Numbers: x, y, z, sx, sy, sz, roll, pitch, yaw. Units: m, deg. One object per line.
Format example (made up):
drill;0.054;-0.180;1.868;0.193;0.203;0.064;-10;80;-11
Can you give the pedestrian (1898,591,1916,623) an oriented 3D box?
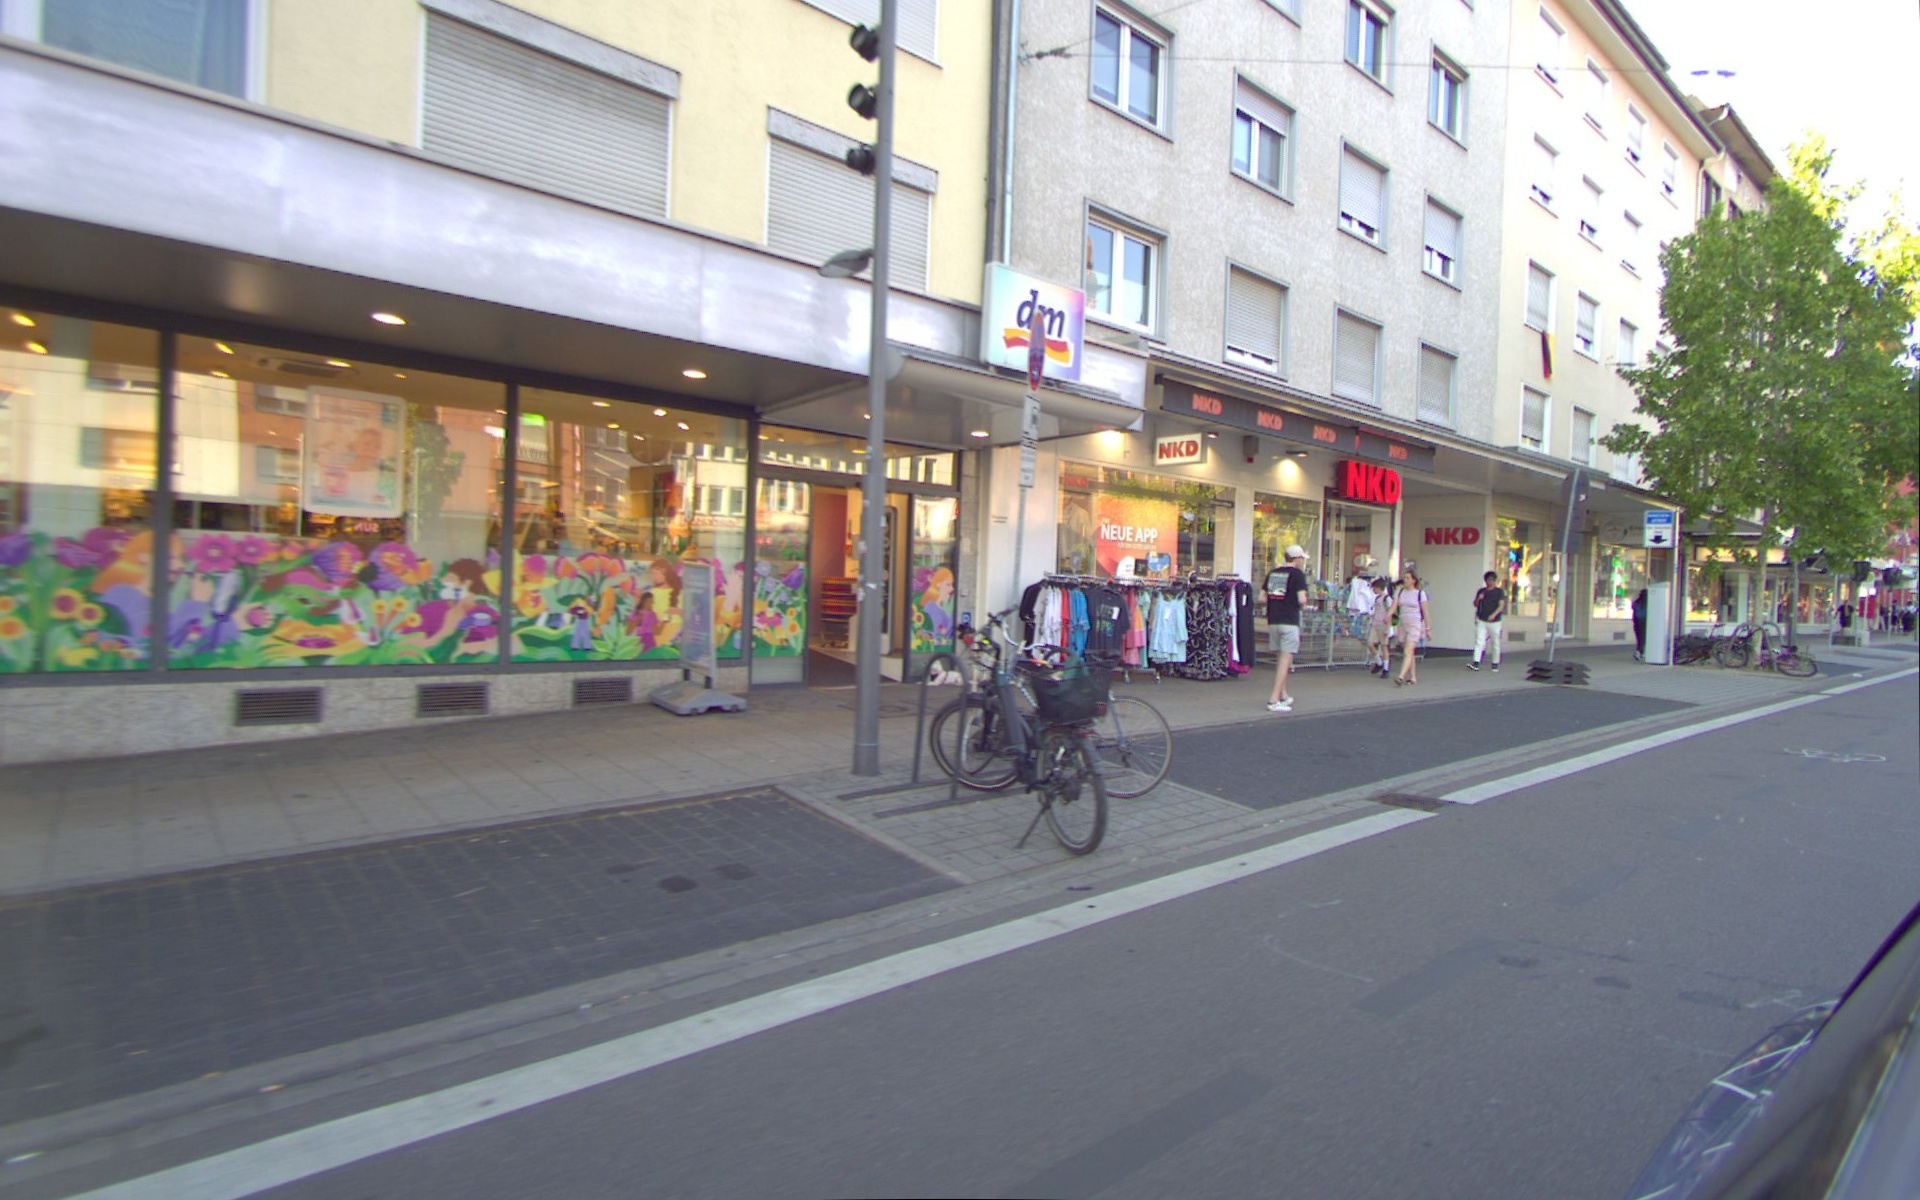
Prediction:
pedestrian;49.621;0.353;53.034;0.640;1.675;0.634;0;0;-41

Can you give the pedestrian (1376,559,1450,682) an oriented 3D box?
pedestrian;6.371;0.279;14.220;0.880;1.649;0.547;1;2;-41

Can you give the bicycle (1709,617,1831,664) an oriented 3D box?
bicycle;16.030;0.791;20.089;1.744;0.788;0.696;3;1;27

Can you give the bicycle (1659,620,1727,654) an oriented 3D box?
bicycle;15.230;0.751;21.076;0.831;0.579;1.745;3;2;26

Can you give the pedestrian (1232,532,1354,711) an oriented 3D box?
pedestrian;3.630;0.212;11.029;0.914;1.821;0.775;1;4;-39

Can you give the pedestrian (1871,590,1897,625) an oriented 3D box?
pedestrian;44.803;0.336;49.064;0.900;1.675;0.851;0;0;-41

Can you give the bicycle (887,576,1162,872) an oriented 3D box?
bicycle;0.289;0.612;5.977;0.679;1.327;1.797;1;5;-29

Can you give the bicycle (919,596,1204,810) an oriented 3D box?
bicycle;0.690;0.649;6.989;1.773;1.137;0.659;6;5;23

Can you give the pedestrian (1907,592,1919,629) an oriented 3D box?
pedestrian;45.285;0.485;47.784;0.647;1.695;0.693;1;3;-40

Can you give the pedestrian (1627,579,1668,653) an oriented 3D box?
pedestrian;15.095;0.346;22.223;0.636;1.586;0.490;1;3;-39

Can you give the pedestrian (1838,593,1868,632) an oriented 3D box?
pedestrian;38.881;0.550;44.059;0.900;1.675;0.851;0;0;-41

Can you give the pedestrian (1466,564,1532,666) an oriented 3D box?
pedestrian;9.333;0.242;17.516;1.051;1.695;0.569;0;3;-41

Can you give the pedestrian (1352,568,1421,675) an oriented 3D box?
pedestrian;6.383;0.313;15.143;0.880;1.520;0.542;1;2;-41
